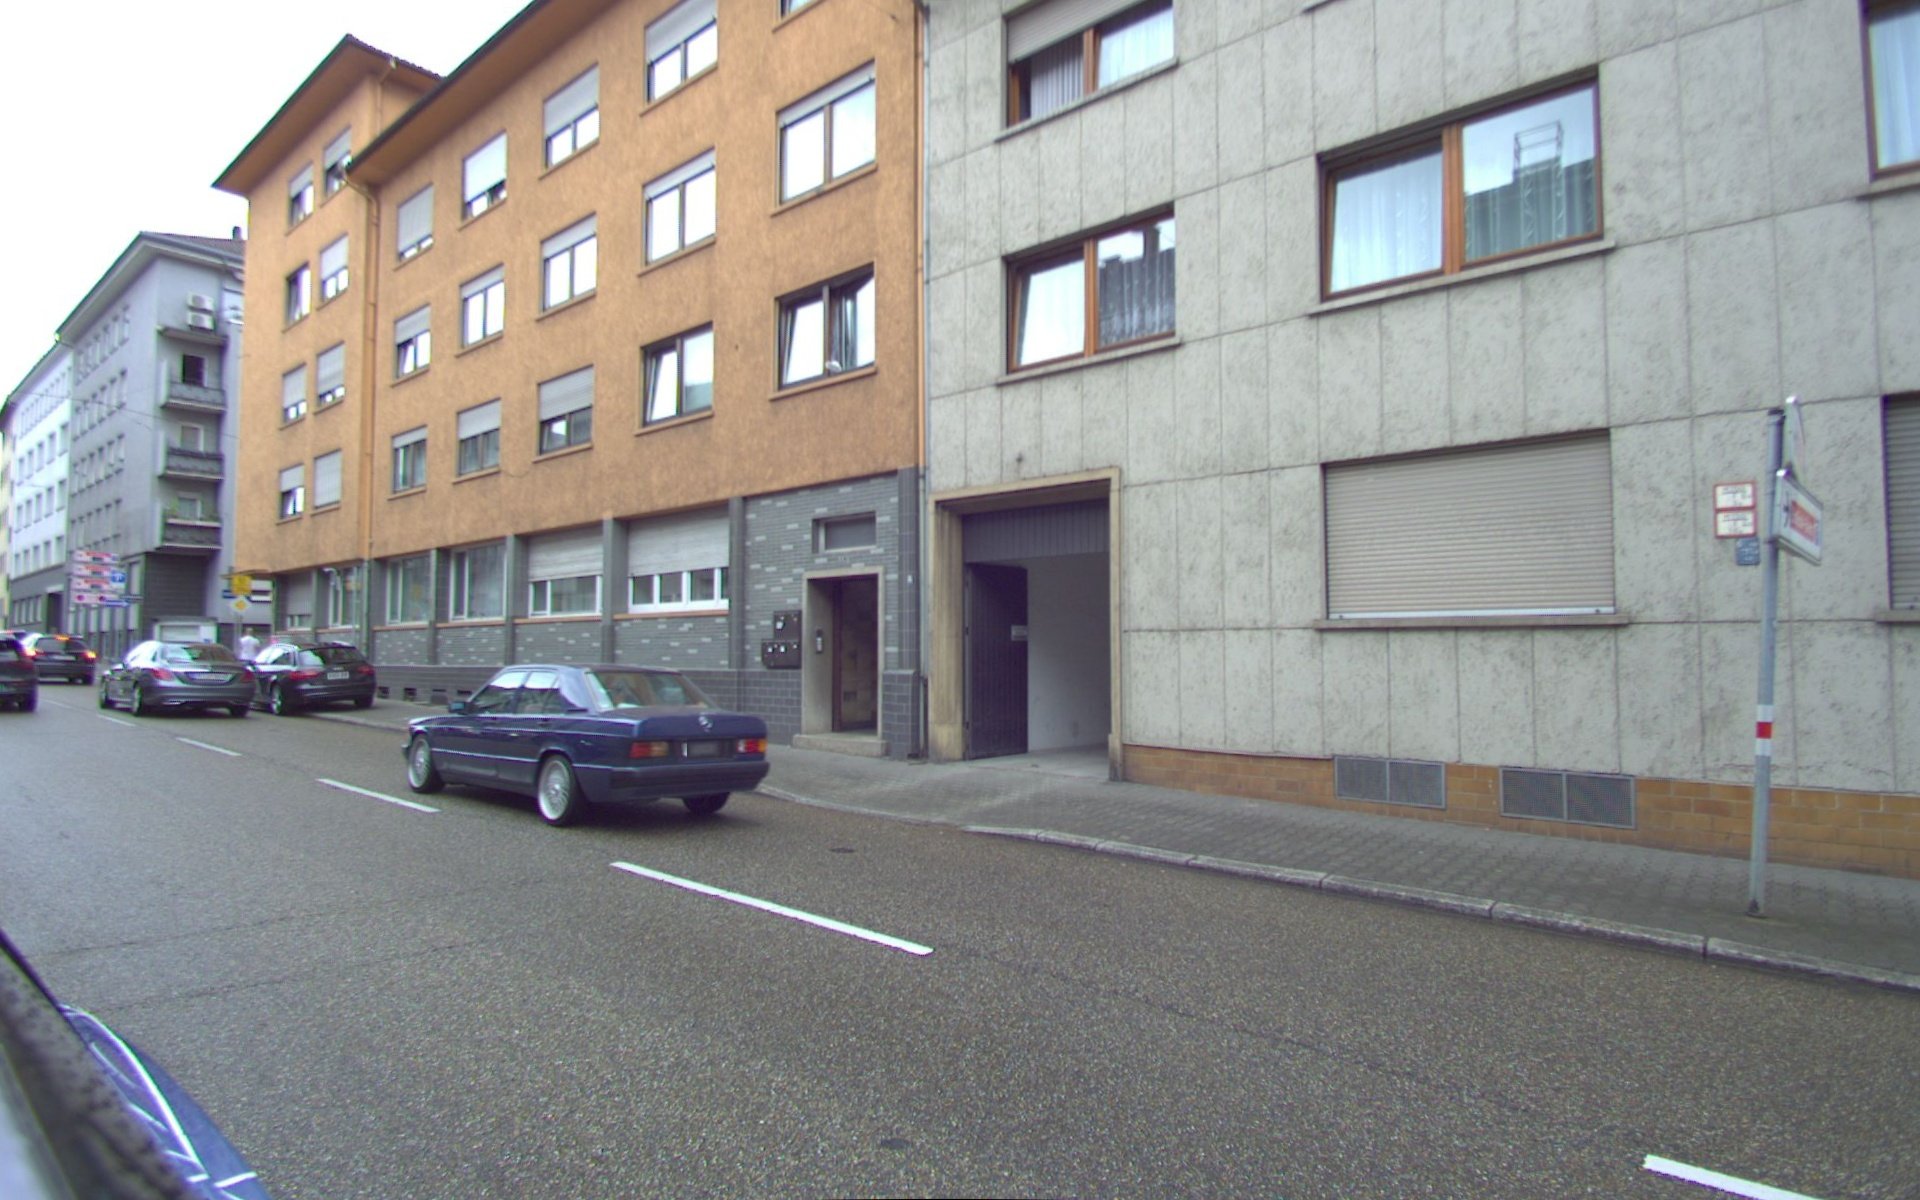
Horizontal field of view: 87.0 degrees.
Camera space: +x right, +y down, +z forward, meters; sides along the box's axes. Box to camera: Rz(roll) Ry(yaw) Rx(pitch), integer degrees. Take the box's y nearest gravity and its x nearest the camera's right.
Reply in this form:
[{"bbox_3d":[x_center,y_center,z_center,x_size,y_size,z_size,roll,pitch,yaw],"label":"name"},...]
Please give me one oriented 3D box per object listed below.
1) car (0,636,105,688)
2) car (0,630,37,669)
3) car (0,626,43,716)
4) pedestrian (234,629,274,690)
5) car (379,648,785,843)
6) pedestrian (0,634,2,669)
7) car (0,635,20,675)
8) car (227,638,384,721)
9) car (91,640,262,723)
[{"bbox_3d":[-27.979,1.899,31.177,4.370,1.484,1.705,-2,-5,40],"label":"car"},{"bbox_3d":[-46.476,2.373,49.271,4.216,1.735,1.832,-1,0,41],"label":"car"},{"bbox_3d":[-19.020,1.273,19.266,4.214,1.592,1.677,0,-4,40],"label":"car"},{"bbox_3d":[-19.946,1.675,28.595,0.757,1.652,1.024,-1,0,-44],"label":"pedestrian"},{"bbox_3d":[-3.736,1.224,9.621,4.358,1.381,1.582,-1,-5,40],"label":"car"},{"bbox_3d":[-56.124,2.971,58.271,1.257,2.029,1.292,-1,0,41],"label":"pedestrian"},{"bbox_3d":[-40.113,2.165,41.483,4.433,1.551,1.677,-1,-6,40],"label":"car"},{"bbox_3d":[-14.250,1.640,21.935,4.216,1.485,1.776,-1,0,41],"label":"car"},{"bbox_3d":[-15.580,1.571,20.041,4.362,1.381,1.678,-1,-5,40],"label":"car"}]
